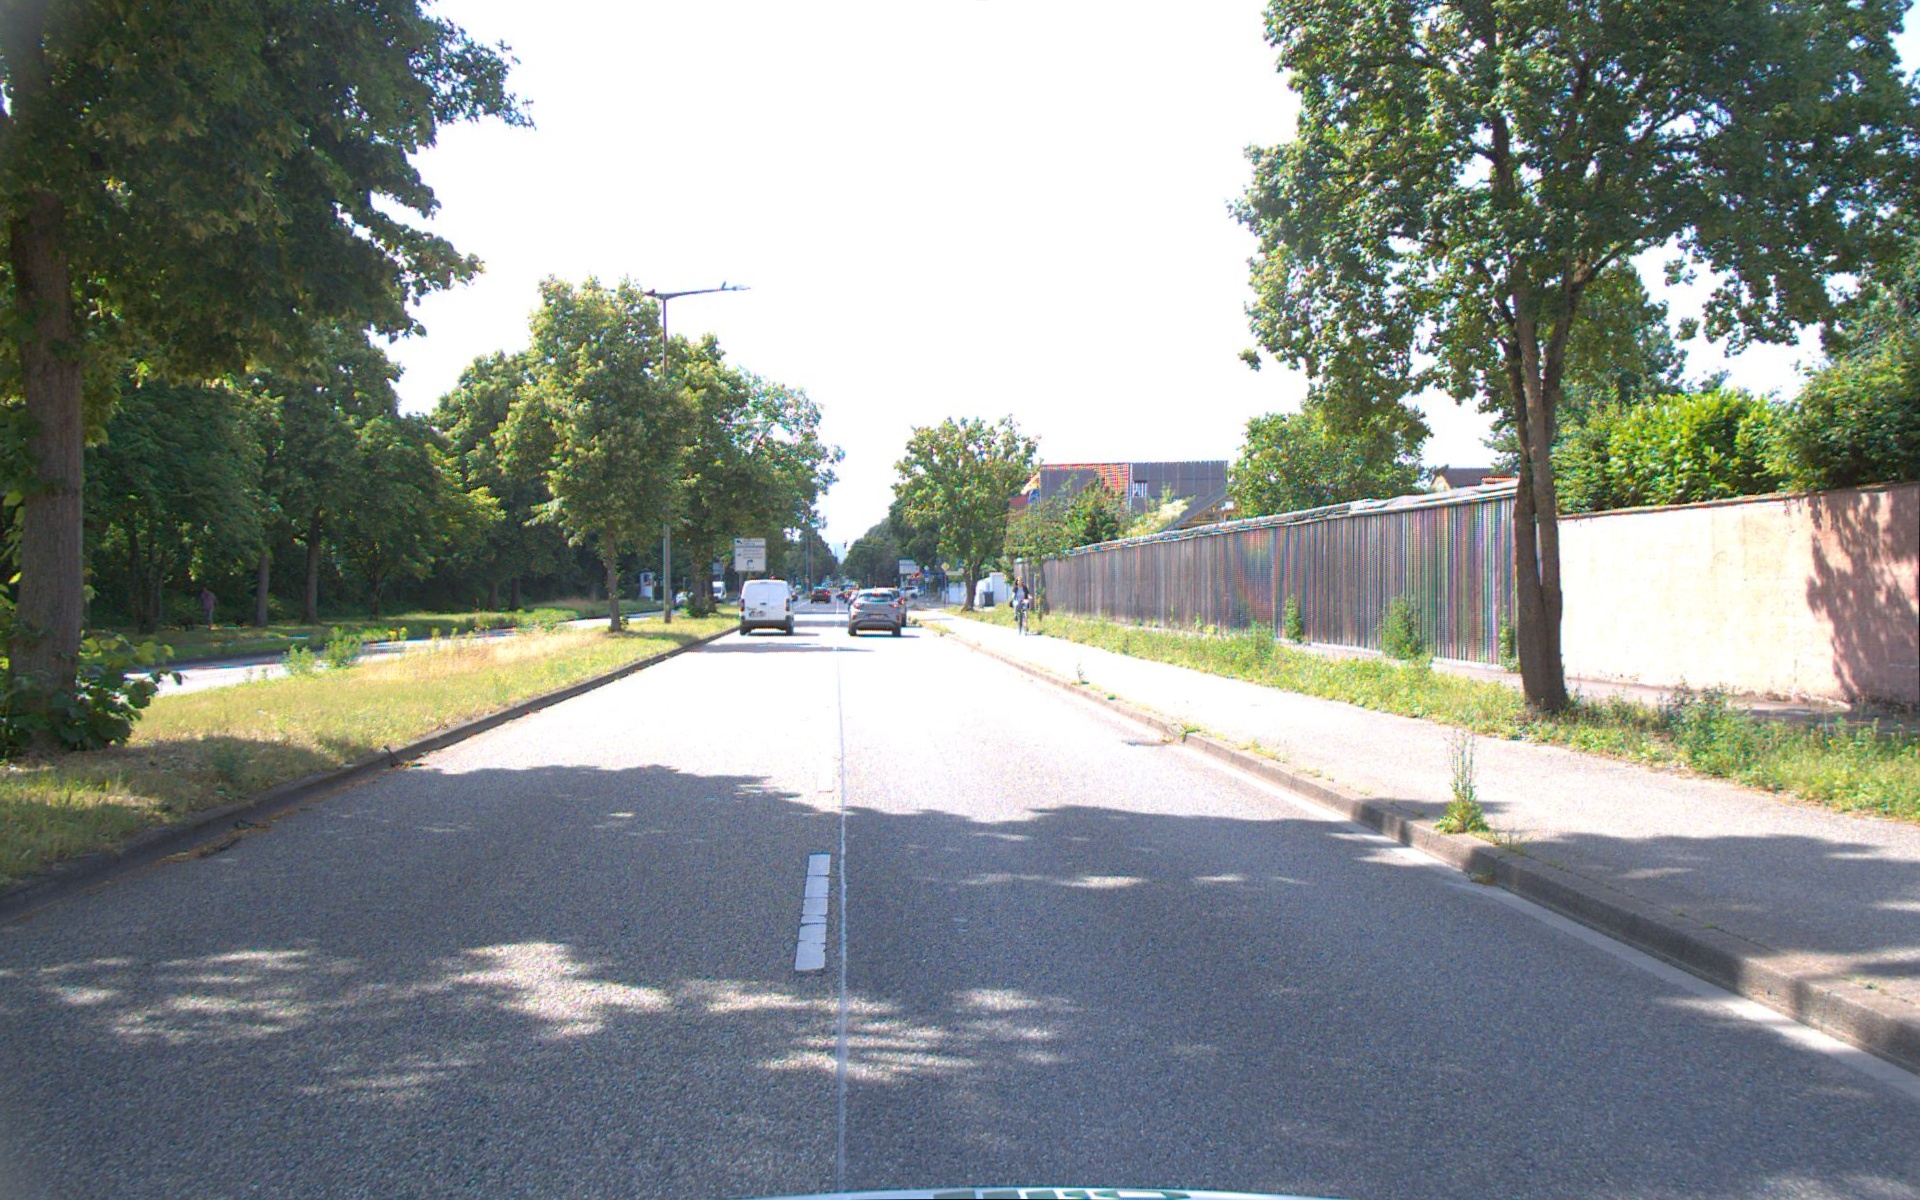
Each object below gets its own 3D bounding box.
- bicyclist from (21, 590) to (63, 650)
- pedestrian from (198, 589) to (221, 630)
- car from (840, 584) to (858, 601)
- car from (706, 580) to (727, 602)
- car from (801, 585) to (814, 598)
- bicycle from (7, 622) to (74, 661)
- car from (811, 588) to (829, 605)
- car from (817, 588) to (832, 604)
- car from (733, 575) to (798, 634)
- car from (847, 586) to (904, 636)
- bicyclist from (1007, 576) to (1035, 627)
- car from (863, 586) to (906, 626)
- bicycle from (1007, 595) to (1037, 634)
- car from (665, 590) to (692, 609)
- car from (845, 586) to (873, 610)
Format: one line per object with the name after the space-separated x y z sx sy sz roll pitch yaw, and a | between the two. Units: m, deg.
-22.557 0.482 40.645 0.605 1.473 0.729 -1 0 -2 | bicyclist
-30.781 0.383 67.824 0.631 1.658 0.655 1 0 -4 | pedestrian
-12.321 -0.875 184.094 1.954 1.803 4.144 1 1 -4 | car
-28.630 -1.053 194.241 2.005 2.474 5.246 -1 0 -4 | car
-21.683 -1.205 235.349 1.744 1.798 4.147 -1 0 -4 | car
-22.552 1.012 40.615 0.605 0.894 1.914 -1 0 -1 | bicycle
-15.457 -0.358 182.464 1.903 1.798 4.143 -1 0 -4 | car
-15.791 -0.459 193.023 1.744 1.798 4.165 -1 0 -4 | car
-6.667 0.118 57.090 2.025 1.945 4.642 -1 1 -4 | car
-2.899 0.340 56.302 1.838 1.616 4.181 -1 0 -4 | car
1.800 0.037 48.872 0.641 1.436 0.986 -3 0 -3 | bicyclist
-3.308 0.232 71.844 1.744 1.672 4.193 -1 0 -4 | car
1.817 0.417 48.891 0.633 1.086 2.277 -3 1 -3 | bicycle
-25.656 -0.069 150.719 1.954 1.735 4.190 -1 0 -4 | car
-7.046 -0.175 115.171 1.843 1.615 3.997 -1 1 -4 | car
